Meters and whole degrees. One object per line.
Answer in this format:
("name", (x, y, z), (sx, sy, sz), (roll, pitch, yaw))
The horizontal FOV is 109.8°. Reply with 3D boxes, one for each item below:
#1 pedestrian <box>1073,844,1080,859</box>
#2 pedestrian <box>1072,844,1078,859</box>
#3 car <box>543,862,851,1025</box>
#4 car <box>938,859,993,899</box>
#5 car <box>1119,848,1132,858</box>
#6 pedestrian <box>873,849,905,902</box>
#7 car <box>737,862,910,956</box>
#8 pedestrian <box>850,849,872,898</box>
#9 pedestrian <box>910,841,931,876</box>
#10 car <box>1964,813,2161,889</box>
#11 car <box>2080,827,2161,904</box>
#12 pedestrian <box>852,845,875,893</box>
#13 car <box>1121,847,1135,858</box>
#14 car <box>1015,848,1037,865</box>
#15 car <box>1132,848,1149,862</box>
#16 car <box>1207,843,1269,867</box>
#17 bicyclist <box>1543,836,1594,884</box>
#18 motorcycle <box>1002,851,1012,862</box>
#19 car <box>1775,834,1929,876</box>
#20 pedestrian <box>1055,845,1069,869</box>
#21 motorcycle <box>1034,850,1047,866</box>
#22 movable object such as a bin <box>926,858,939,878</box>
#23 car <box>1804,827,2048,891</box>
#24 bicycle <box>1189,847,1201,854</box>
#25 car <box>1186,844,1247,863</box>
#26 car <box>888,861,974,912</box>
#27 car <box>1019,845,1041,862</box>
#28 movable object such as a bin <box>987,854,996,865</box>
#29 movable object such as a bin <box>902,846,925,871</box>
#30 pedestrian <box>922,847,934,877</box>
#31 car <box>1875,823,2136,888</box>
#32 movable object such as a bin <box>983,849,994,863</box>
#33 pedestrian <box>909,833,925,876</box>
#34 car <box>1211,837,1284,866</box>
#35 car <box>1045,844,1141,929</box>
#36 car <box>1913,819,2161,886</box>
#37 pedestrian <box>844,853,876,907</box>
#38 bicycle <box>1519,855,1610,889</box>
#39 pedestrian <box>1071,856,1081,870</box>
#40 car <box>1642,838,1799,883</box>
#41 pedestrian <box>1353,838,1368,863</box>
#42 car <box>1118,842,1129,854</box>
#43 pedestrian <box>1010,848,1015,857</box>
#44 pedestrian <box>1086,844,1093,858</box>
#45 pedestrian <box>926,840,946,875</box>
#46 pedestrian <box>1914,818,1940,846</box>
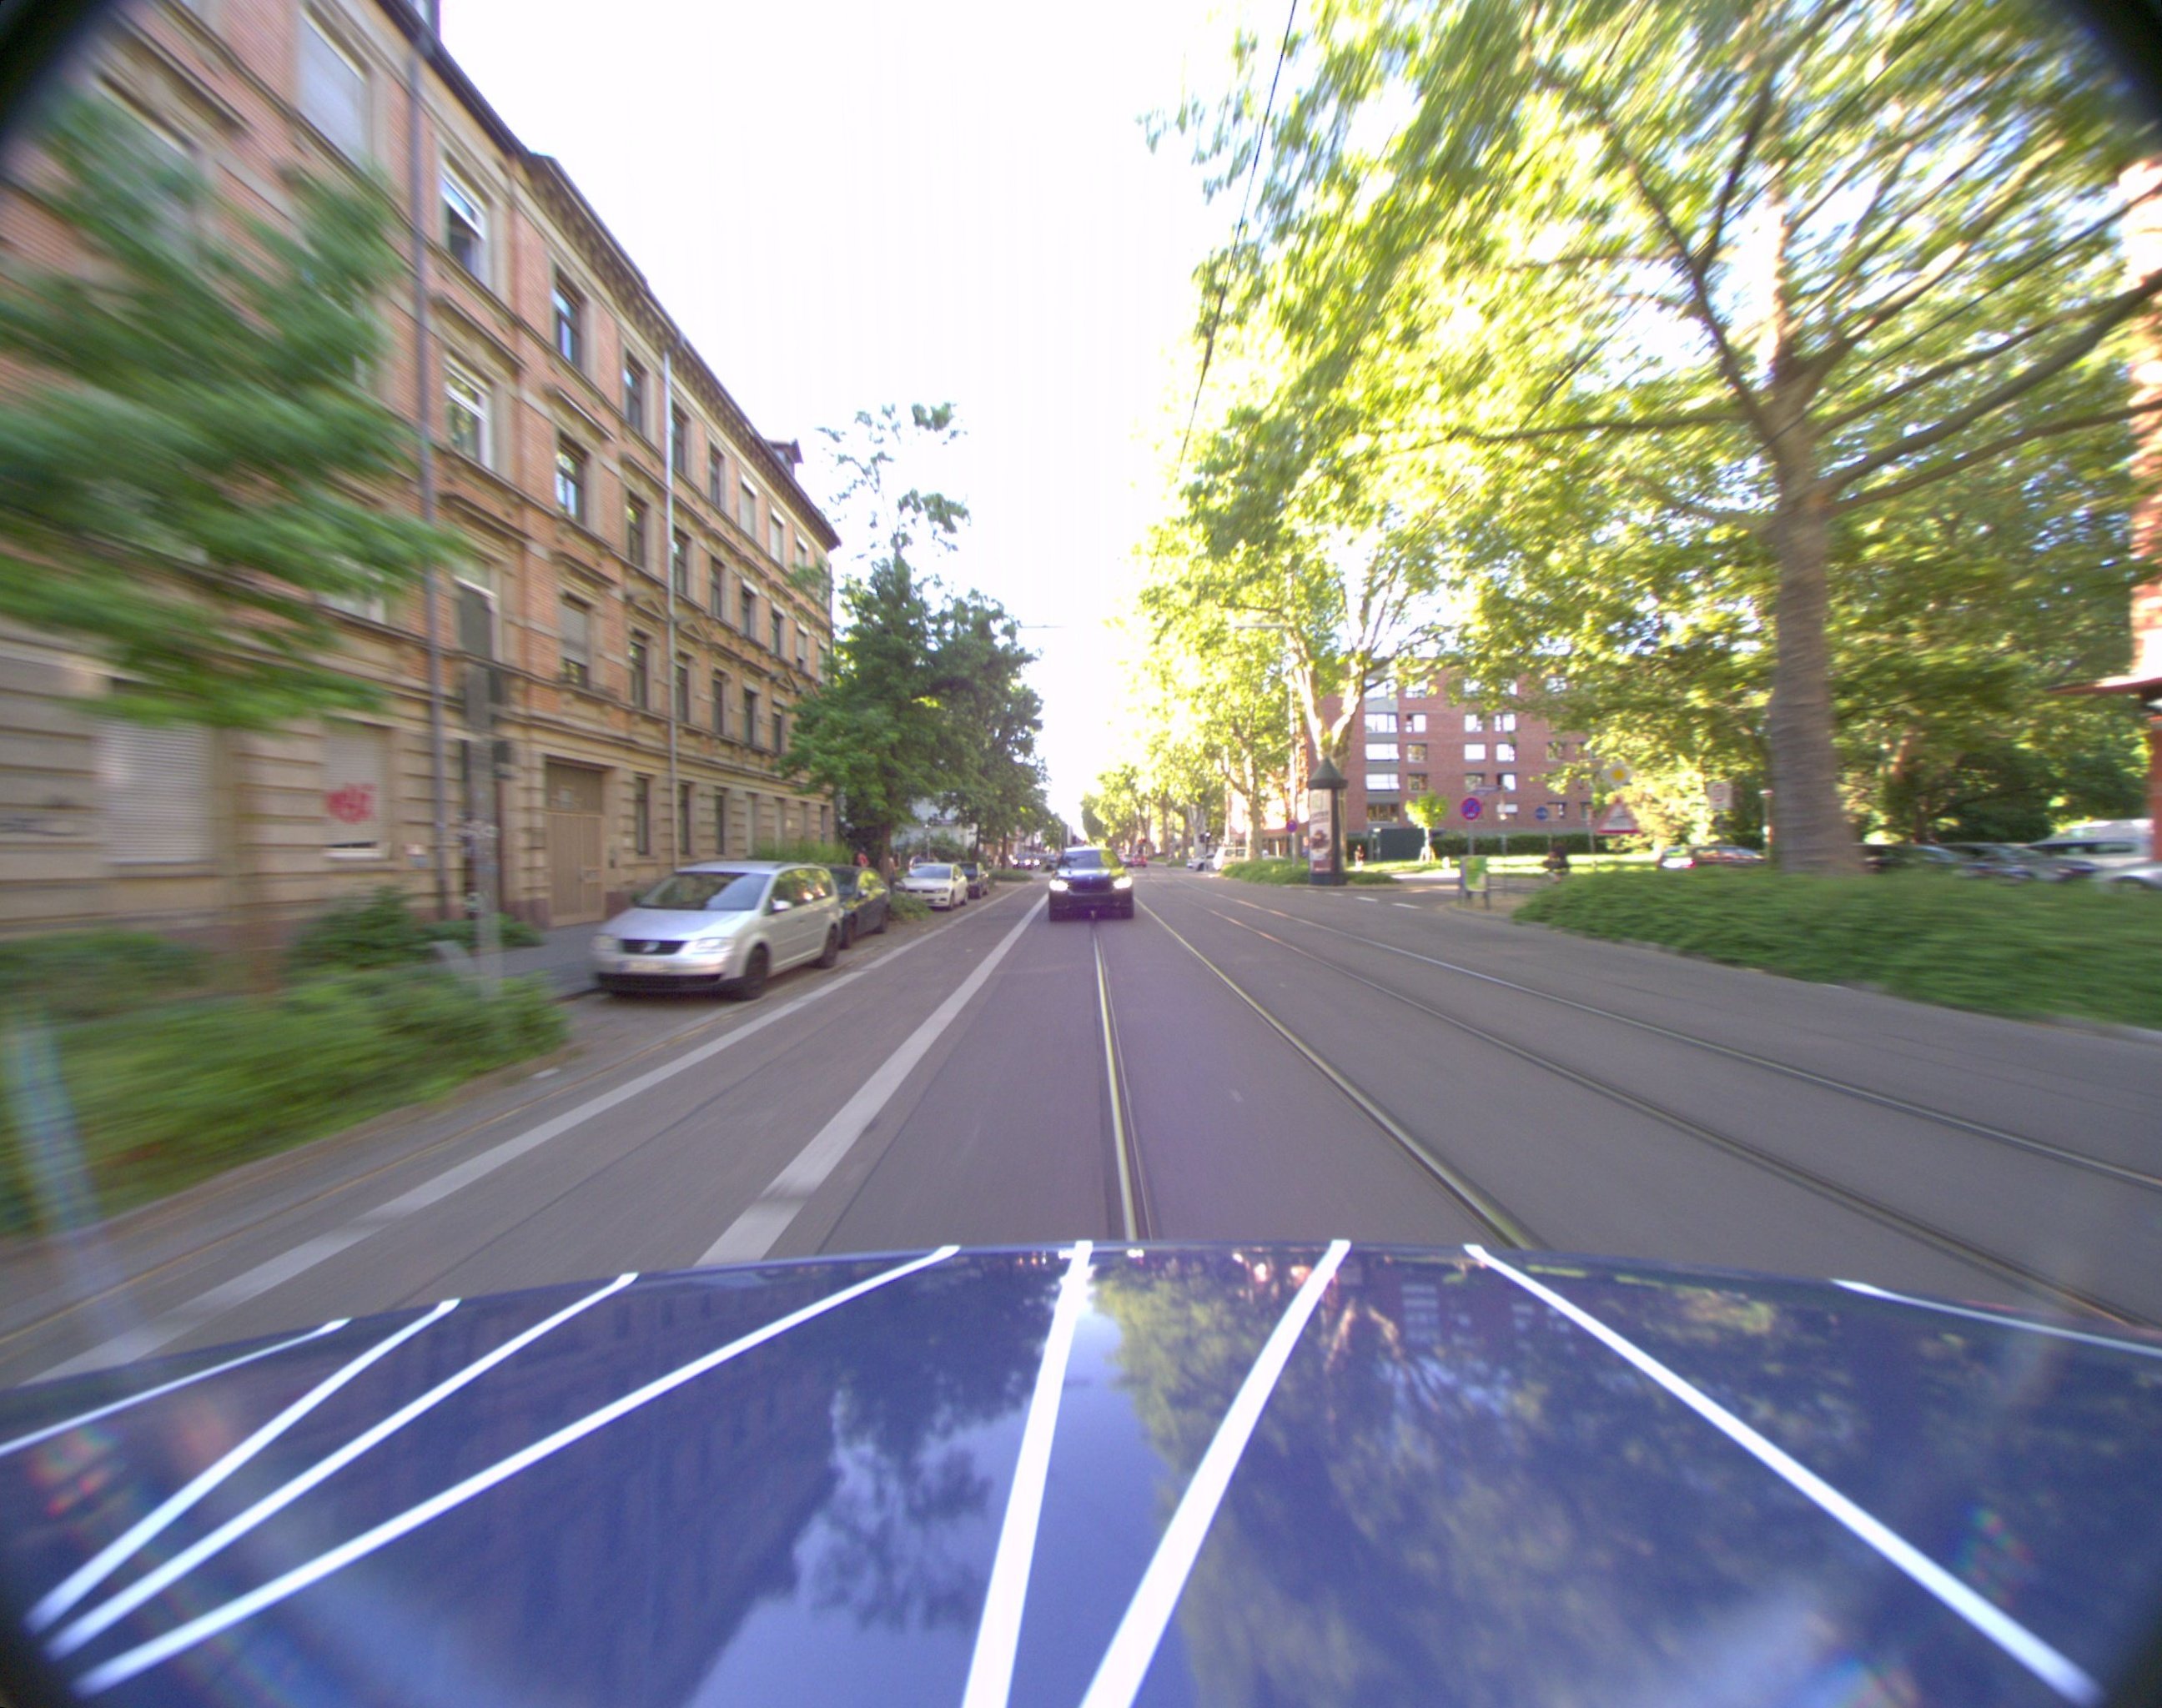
("pedestrian", (-0.549, -0.308, 90.997), (0.690, 1.745, 0.580), (-2, 1, -6))
("pedestrian", (-0.678, -0.314, 91.674), (0.493, 1.760, 0.704), (-1, 1, 15))
("car", (-4.686, 0.967, 10.109), (1.889, 1.559, 4.241), (1, 1, 0))
("car", (-4.640, 0.977, 30.873), (1.677, 1.404, 3.841), (1, 1, -1))
("car", (7.010, -0.101, 119.783), (1.780, 1.452, 4.204), (-2, 1, 1))
("pedestrian", (-6.302, 0.697, 24.964), (0.728, 1.683, 0.957), (-2, 1, 2))
("car", (-4.972, 0.973, 15.422), (1.889, 1.458, 4.593), (1, 1, 0))
("pedestrian", (-8.166, 0.716, 28.190), (0.600, 1.783, 0.728), (-2, 1, -5))
("pedestrian", (-8.272, 0.206, 39.228), (0.727, 1.783, 0.968), (1, 1, 11))
("car", (29.280, -0.130, 21.802), (1.999, 1.992, 4.918), (-2, 1, -4))
("car", (20.966, 0.216, 13.264), (1.952, 1.399, 3.892), (-2, 1, 1))
("pedestrian", (-8.262, 0.574, 28.889), (0.600, 1.783, 0.728), (-2, 1, -2))
("car", (6.629, -0.200, 108.170), (1.820, 1.559, 4.115), (0, 1, 1))
("car", (-5.451, 0.243, 75.878), (1.766, 1.612, 4.442), (1, 0, 2))
("car", (6.543, 0.107, 84.371), (1.665, 1.435, 3.473), (-2, 1, 1))
("car", (11.663, 0.041, 56.489), (4.150, 1.637, 1.902), (-2, 1, -1))
("bicyclist", (15.571, 0.181, 24.296), (0.802, 1.498, 1.116), (-2, 1, -10))
("motorcycle", (-9.153, 0.348, 94.493), (0.954, 1.309, 2.650), (4, -1, -1))
("car", (29.585, 0.020, 29.229), (4.482, 1.441, 1.822), (-2, 1, -7))
("pedestrian", (-1.492, 0.220, 59.759), (0.870, 1.874, 0.996), (-2, 1, -17))
("motorcycle", (-3.872, 0.355, 73.489), (1.054, 1.446, 2.208), (-2, 1, 1))
("movable object such as a bin", (-8.705, 0.796, 44.584), (0.667, 1.120, 0.956), (-2, 1, -7))
("car", (22.217, 0.100, 20.235), (1.818, 1.485, 3.996), (-2, 1, -9))
("bicycle", (20.034, -0.624, 133.520), (2.098, 1.182, 0.882), (-1, 1, 17))
("car", (11.400, -0.035, 64.120), (4.776, 1.452, 1.954), (-2, 1, -1))
("car", (-4.717, 0.992, 24.479), (1.889, 1.360, 4.106), (1, 1, 0))
("car", (-5.892, -0.071, 88.057), (1.998, 1.885, 4.194), (1, 1, 2))
("movable object such as a bin", (-8.816, 0.552, 74.927), (0.883, 1.104, 0.697), (1, 1, -2))
("movable object such as a bin", (-8.388, 0.216, 38.028), (0.640, 1.195, 1.306), (1, 1, 11))
("pedestrian", (-9.108, 0.461, 45.186), (0.620, 1.716, 0.553), (-2, 1, -15))
("car", (24.383, 0.012, 20.307), (2.000, 1.517, 3.997), (-2, 1, -6))
("movable object such as a bin", (-9.401, 0.176, 77.076), (1.002, 1.389, 0.824), (1, 1, -2))
("pedestrian", (-7.038, 0.021, 32.608), (0.600, 1.783, 0.727), (-2, 1, -10))
("car", (11.624, -0.173, 53.232), (4.582, 1.823, 1.938), (-2, 1, -1))
("car", (0.293, 0.647, 18.468), (1.937, 1.719, 5.072), (-2, 1, 1))
("car", (26.531, -0.070, 20.944), (2.000, 1.609, 4.554), (-2, 1, -6))
("pedestrian", (-7.264, 0.840, 25.002), (0.728, 1.699, 0.856), (-2, 1, 1))
("bicycle", (15.515, 0.549, 24.491), (0.971, 0.993, 2.580), (-2, 1, -9))
("pedestrian", (-0.391, 0.727, 60.101), (0.675, 1.112, 0.660), (-2, 1, 12))
("car", (23.926, 0.218, 28.506), (4.540, 1.480, 1.859), (-2, 1, -5))
("pedestrian", (18.774, -0.223, 51.006), (0.711, 1.664, 0.779), (-2, 1, 0))
("car", (10.766, -1.511, 193.579), (2.429, 2.833, 5.072), (-2, 1, 0))
("pedestrian", (-9.325, -0.149, 103.510), (0.680, 1.198, 0.648), (-2, 1, -10))
("pedestrian", (1.055, -0.346, 96.658), (0.836, 1.703, 0.640), (-2, 1, 2))
("pedestrian", (-7.498, 0.179, 39.397), (0.727, 1.783, 0.854), (1, 1, 11))
("pedestrian", (51.081, -1.334, 45.893), (0.777, 1.664, 0.712), (-1, 1, 17))
